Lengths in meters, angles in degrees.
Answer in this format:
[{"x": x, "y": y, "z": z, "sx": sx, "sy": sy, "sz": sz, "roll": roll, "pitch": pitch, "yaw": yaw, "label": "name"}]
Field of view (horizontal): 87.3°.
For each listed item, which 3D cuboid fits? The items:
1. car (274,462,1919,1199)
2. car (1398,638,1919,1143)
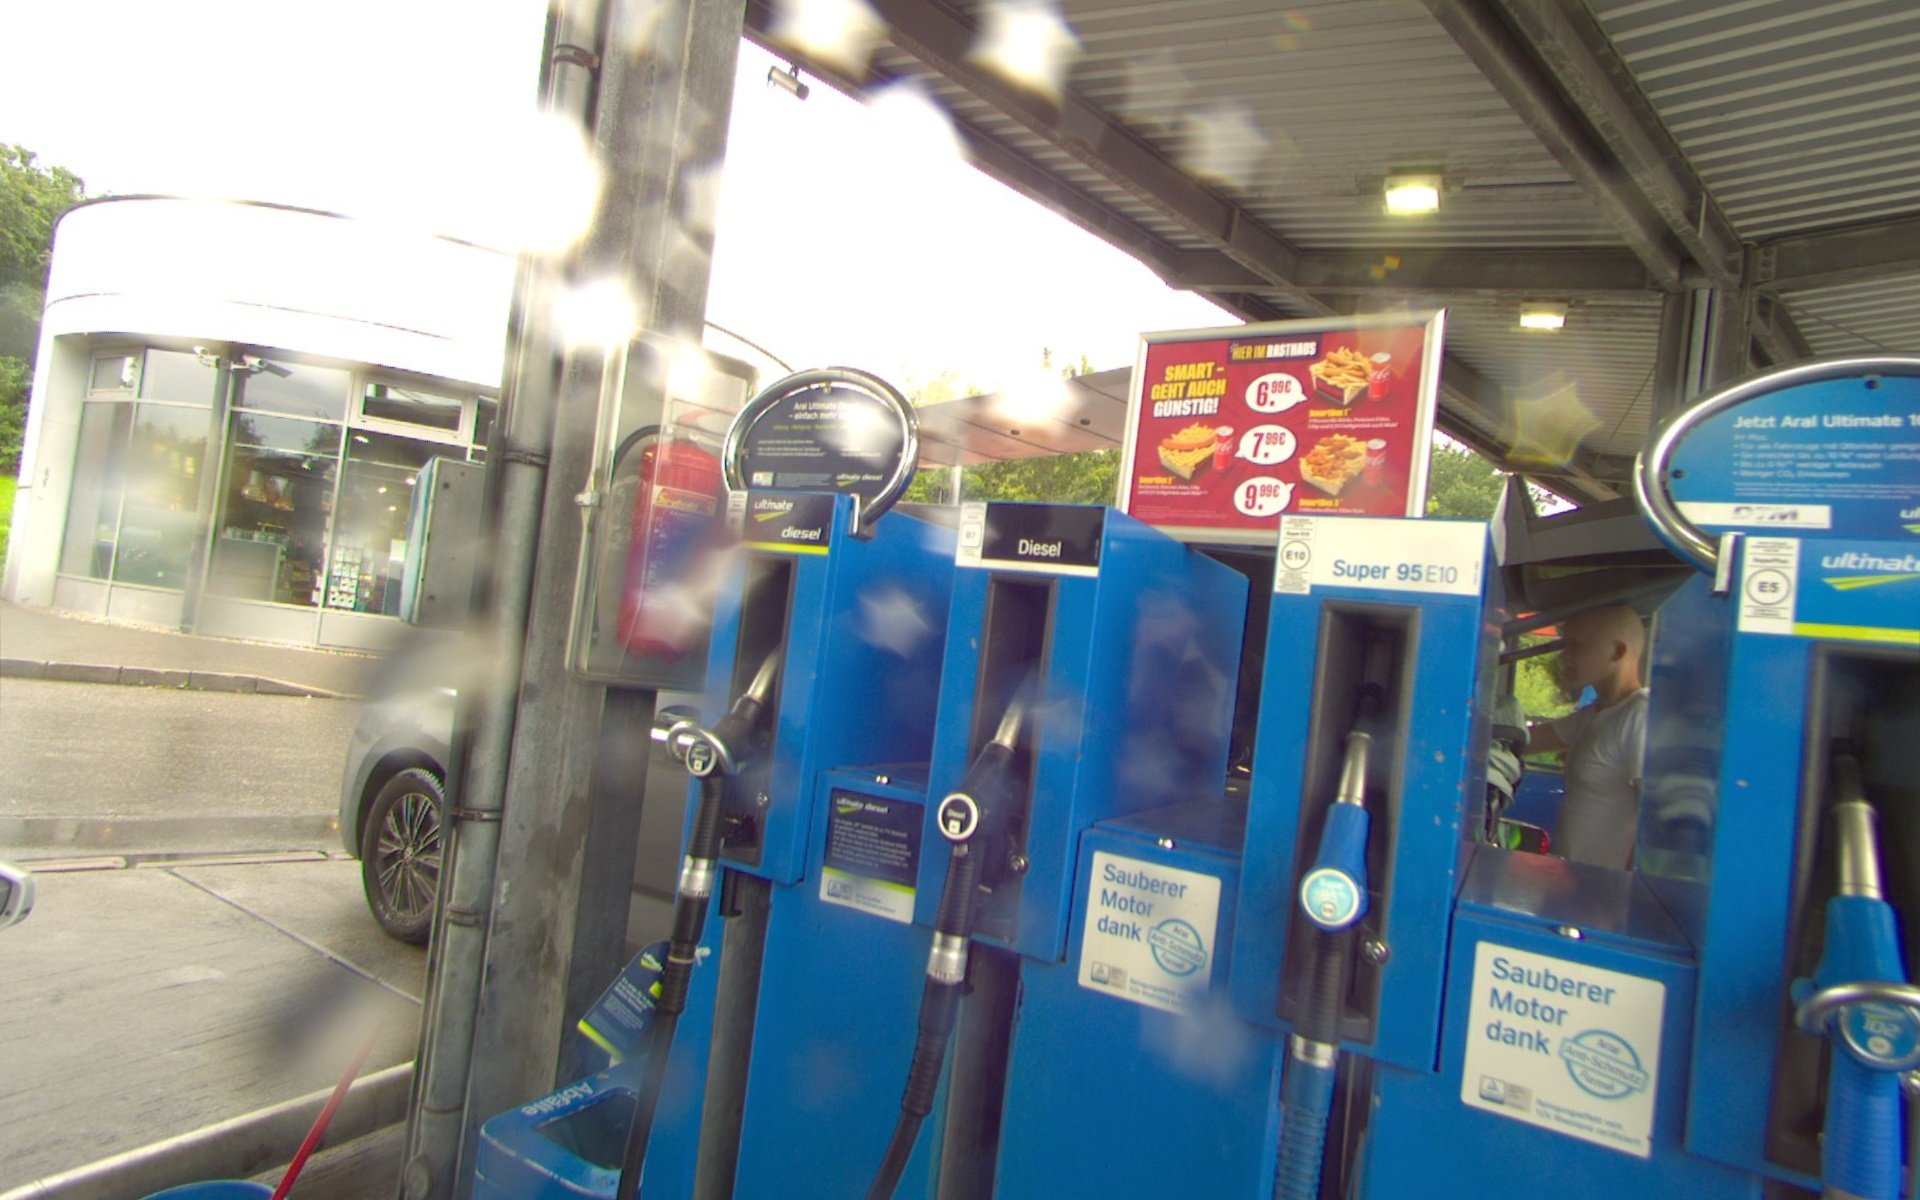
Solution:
[{"x": -0.142, "y": 0.648, "z": 3.675, "sx": 5.055, "sy": 1.819, "sz": 1.865, "roll": 6, "pitch": -2, "yaw": 32, "label": "car"}, {"x": 4.673, "y": 1.392, "z": 4.689, "sx": 4.465, "sy": 1.819, "sz": 1.865, "roll": 6, "pitch": -2, "yaw": 32, "label": "car"}]
